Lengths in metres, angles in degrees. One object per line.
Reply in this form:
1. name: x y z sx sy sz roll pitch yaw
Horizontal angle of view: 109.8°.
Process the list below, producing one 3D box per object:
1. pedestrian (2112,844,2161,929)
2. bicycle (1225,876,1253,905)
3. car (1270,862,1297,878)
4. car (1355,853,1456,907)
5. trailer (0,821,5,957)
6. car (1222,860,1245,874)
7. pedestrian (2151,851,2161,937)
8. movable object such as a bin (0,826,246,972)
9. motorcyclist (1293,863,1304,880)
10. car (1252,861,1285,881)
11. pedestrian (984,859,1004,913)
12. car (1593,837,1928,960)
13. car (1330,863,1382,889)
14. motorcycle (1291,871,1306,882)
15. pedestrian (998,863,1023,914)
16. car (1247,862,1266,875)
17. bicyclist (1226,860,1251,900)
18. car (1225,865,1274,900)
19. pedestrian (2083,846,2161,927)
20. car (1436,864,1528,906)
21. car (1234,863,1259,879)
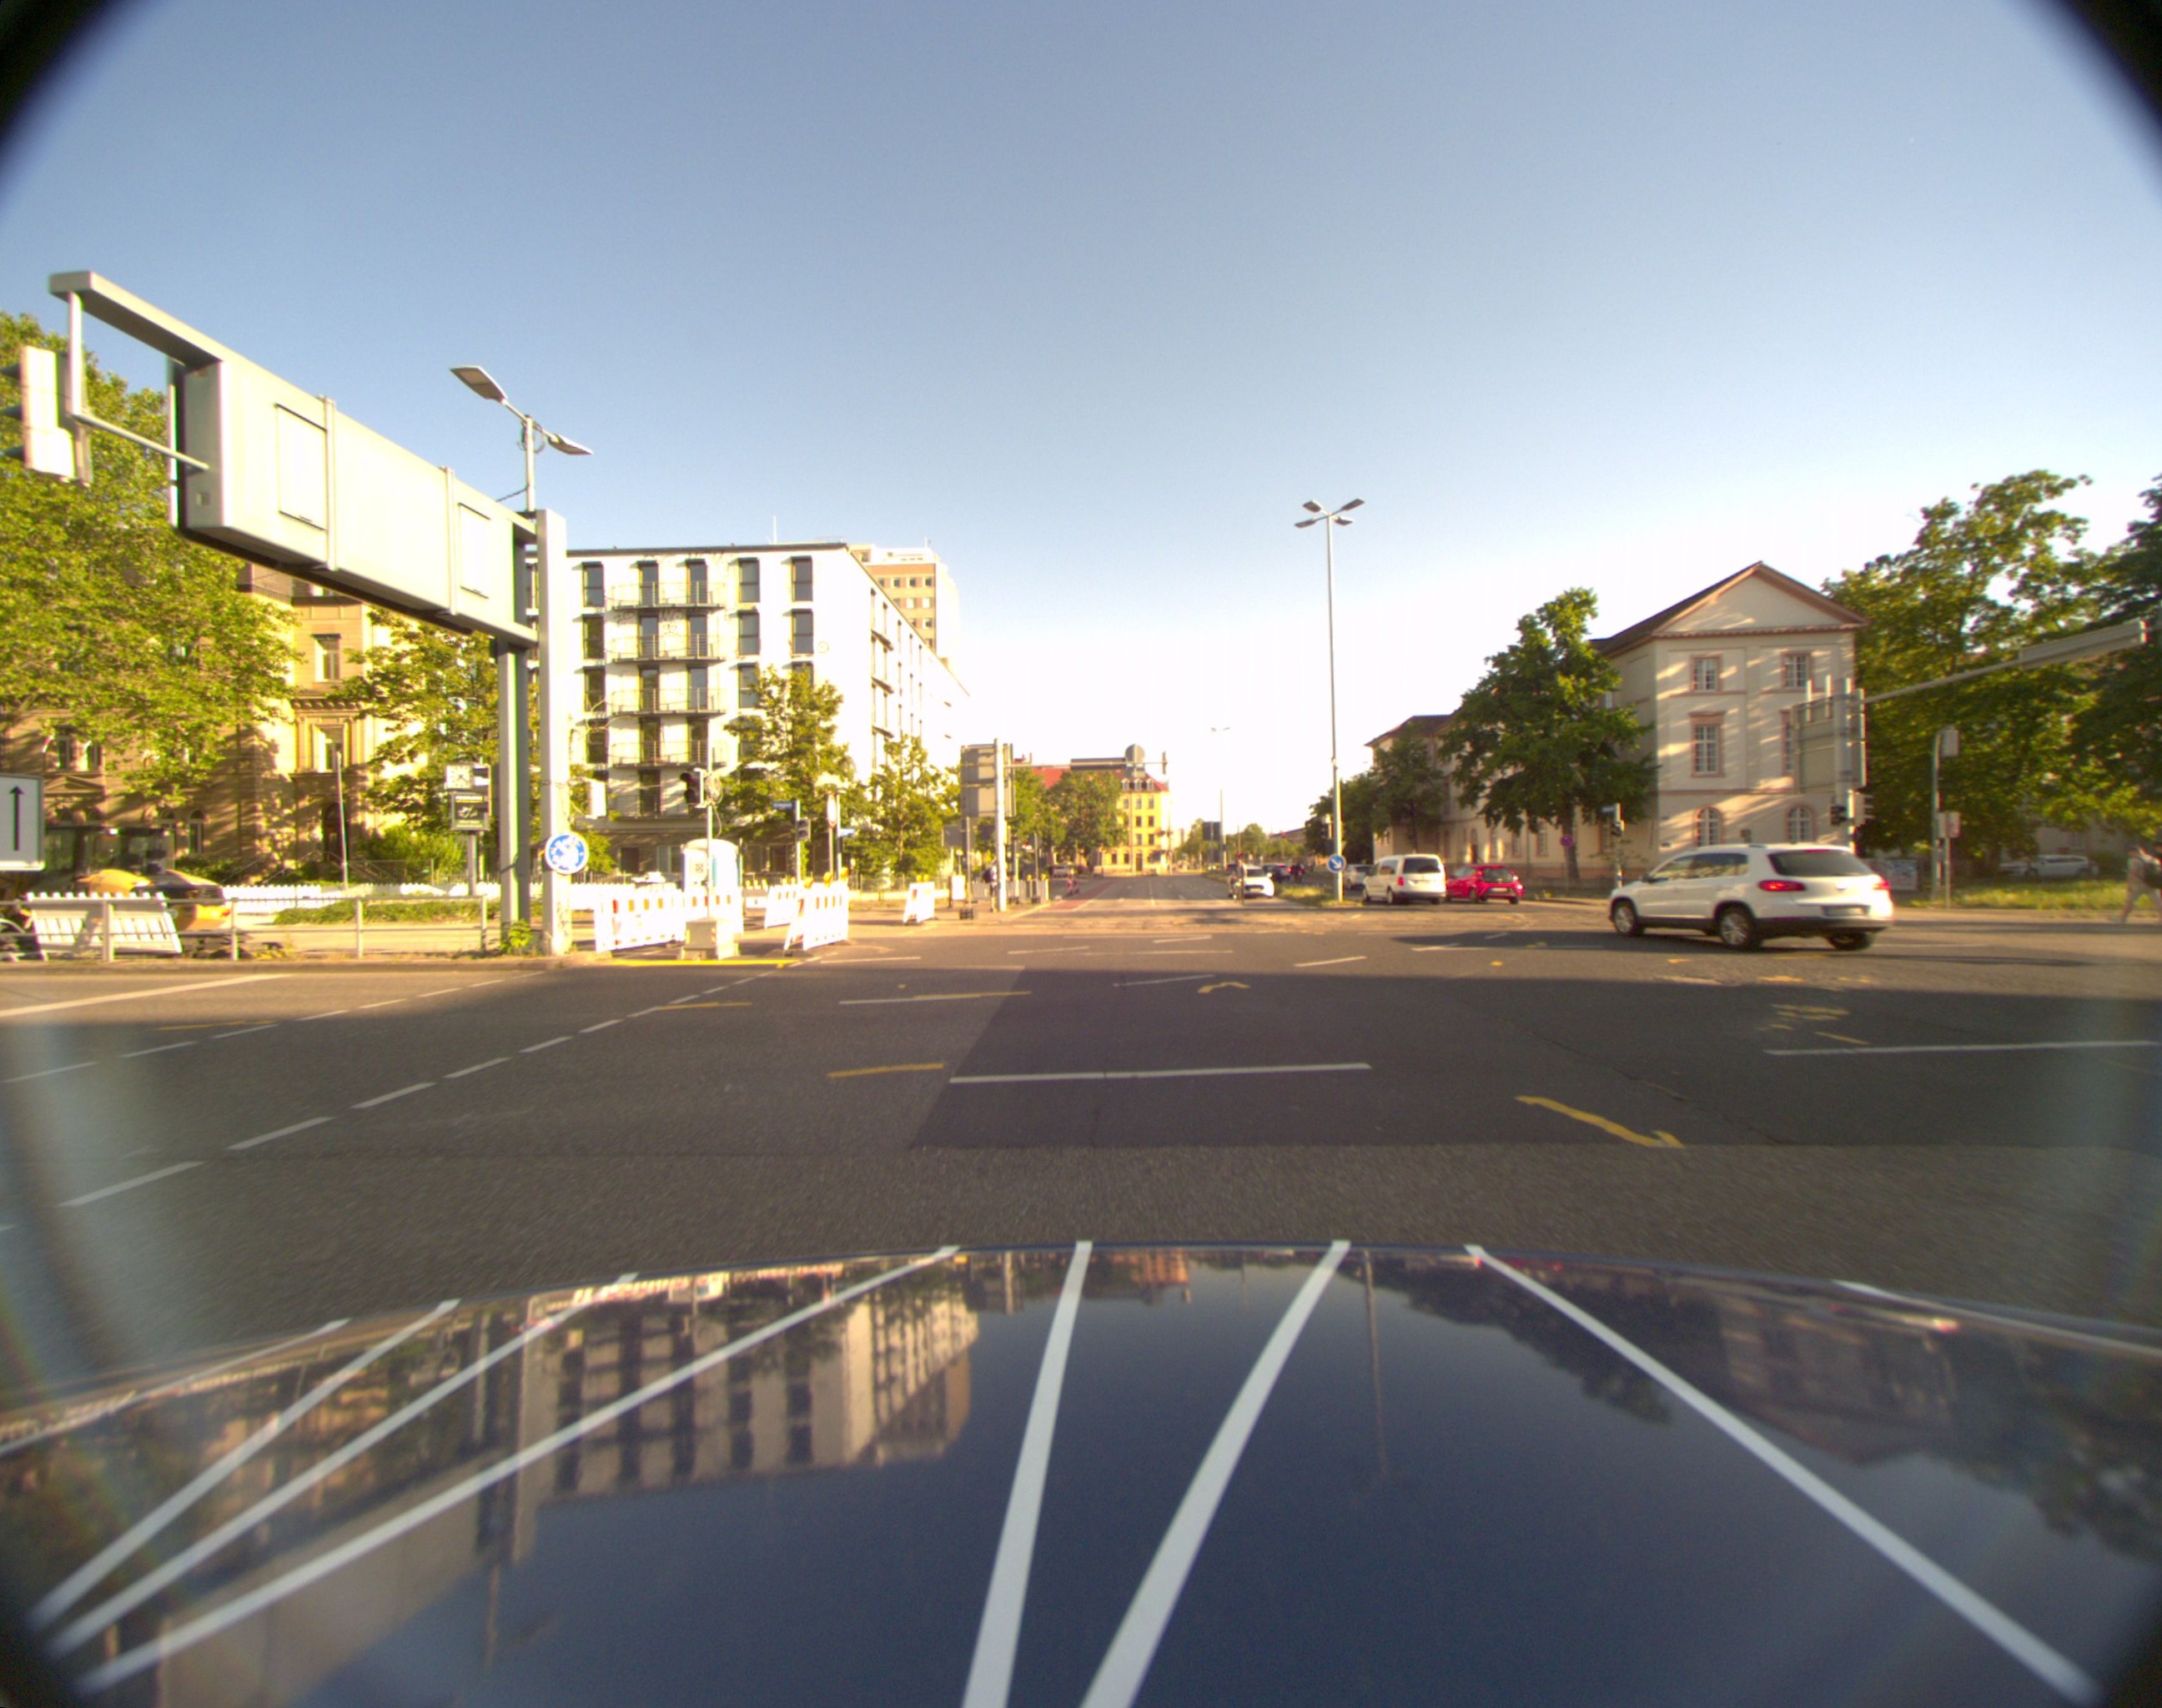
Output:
1. pedestrian: 23.650 0.696 16.535 0.820 1.838 1.170 -1 0 -3
2. bicycle: 6.413 1.480 31.011 0.833 1.101 2.081 -1 -1 4
3. car: 19.674 1.564 73.896 1.764 1.454 4.294 -1 -1 4
4. car: 12.073 0.945 28.662 1.832 1.836 4.948 -1 -1 2
5. trailer: -25.688 0.769 14.687 6.125 2.850 2.542 -1 0 0
6. car: 17.484 1.485 87.219 2.047 1.454 4.294 -1 -1 4
7. pedestrian: 20.798 0.753 14.100 0.621 1.641 0.890 -1 0 -3
8. movable object such as a bin: -19.600 0.841 14.590 5.209 2.578 2.001 -1 0 4
9. motorcyclist: 17.633 1.418 61.639 0.620 1.398 0.756 -1 0 2
10. car: 14.169 1.275 57.610 1.764 1.454 4.294 -1 -1 4
11. pedestrian: -3.110 1.132 27.145 0.500 1.866 0.601 -1 0 -23
12. car: 10.996 0.660 12.861 1.832 1.696 4.442 -1 -1 3
13. car: 16.348 1.286 45.359 1.764 1.454 4.294 -1 -1 4
14. motorcycle: 17.643 1.834 61.780 0.640 0.874 2.162 -1 -1 2
15. pedestrian: -2.619 1.257 28.263 0.576 1.866 0.711 -1 0 39
16. car: 22.798 1.822 99.038 1.764 1.626 4.294 -1 -1 4
17. bicyclist: 6.425 1.052 30.960 0.838 1.594 1.024 -1 0 4
18. car: 7.808 1.297 35.507 1.764 1.489 3.710 -1 -1 6
19. pedestrian: 22.854 0.679 16.522 0.678 1.698 1.084 -1 0 -3
20. car: 15.126 1.128 28.888 1.711 1.469 3.814 -1 -1 4
21. car: 15.991 1.636 73.554 1.764 1.454 4.294 -1 -1 4
